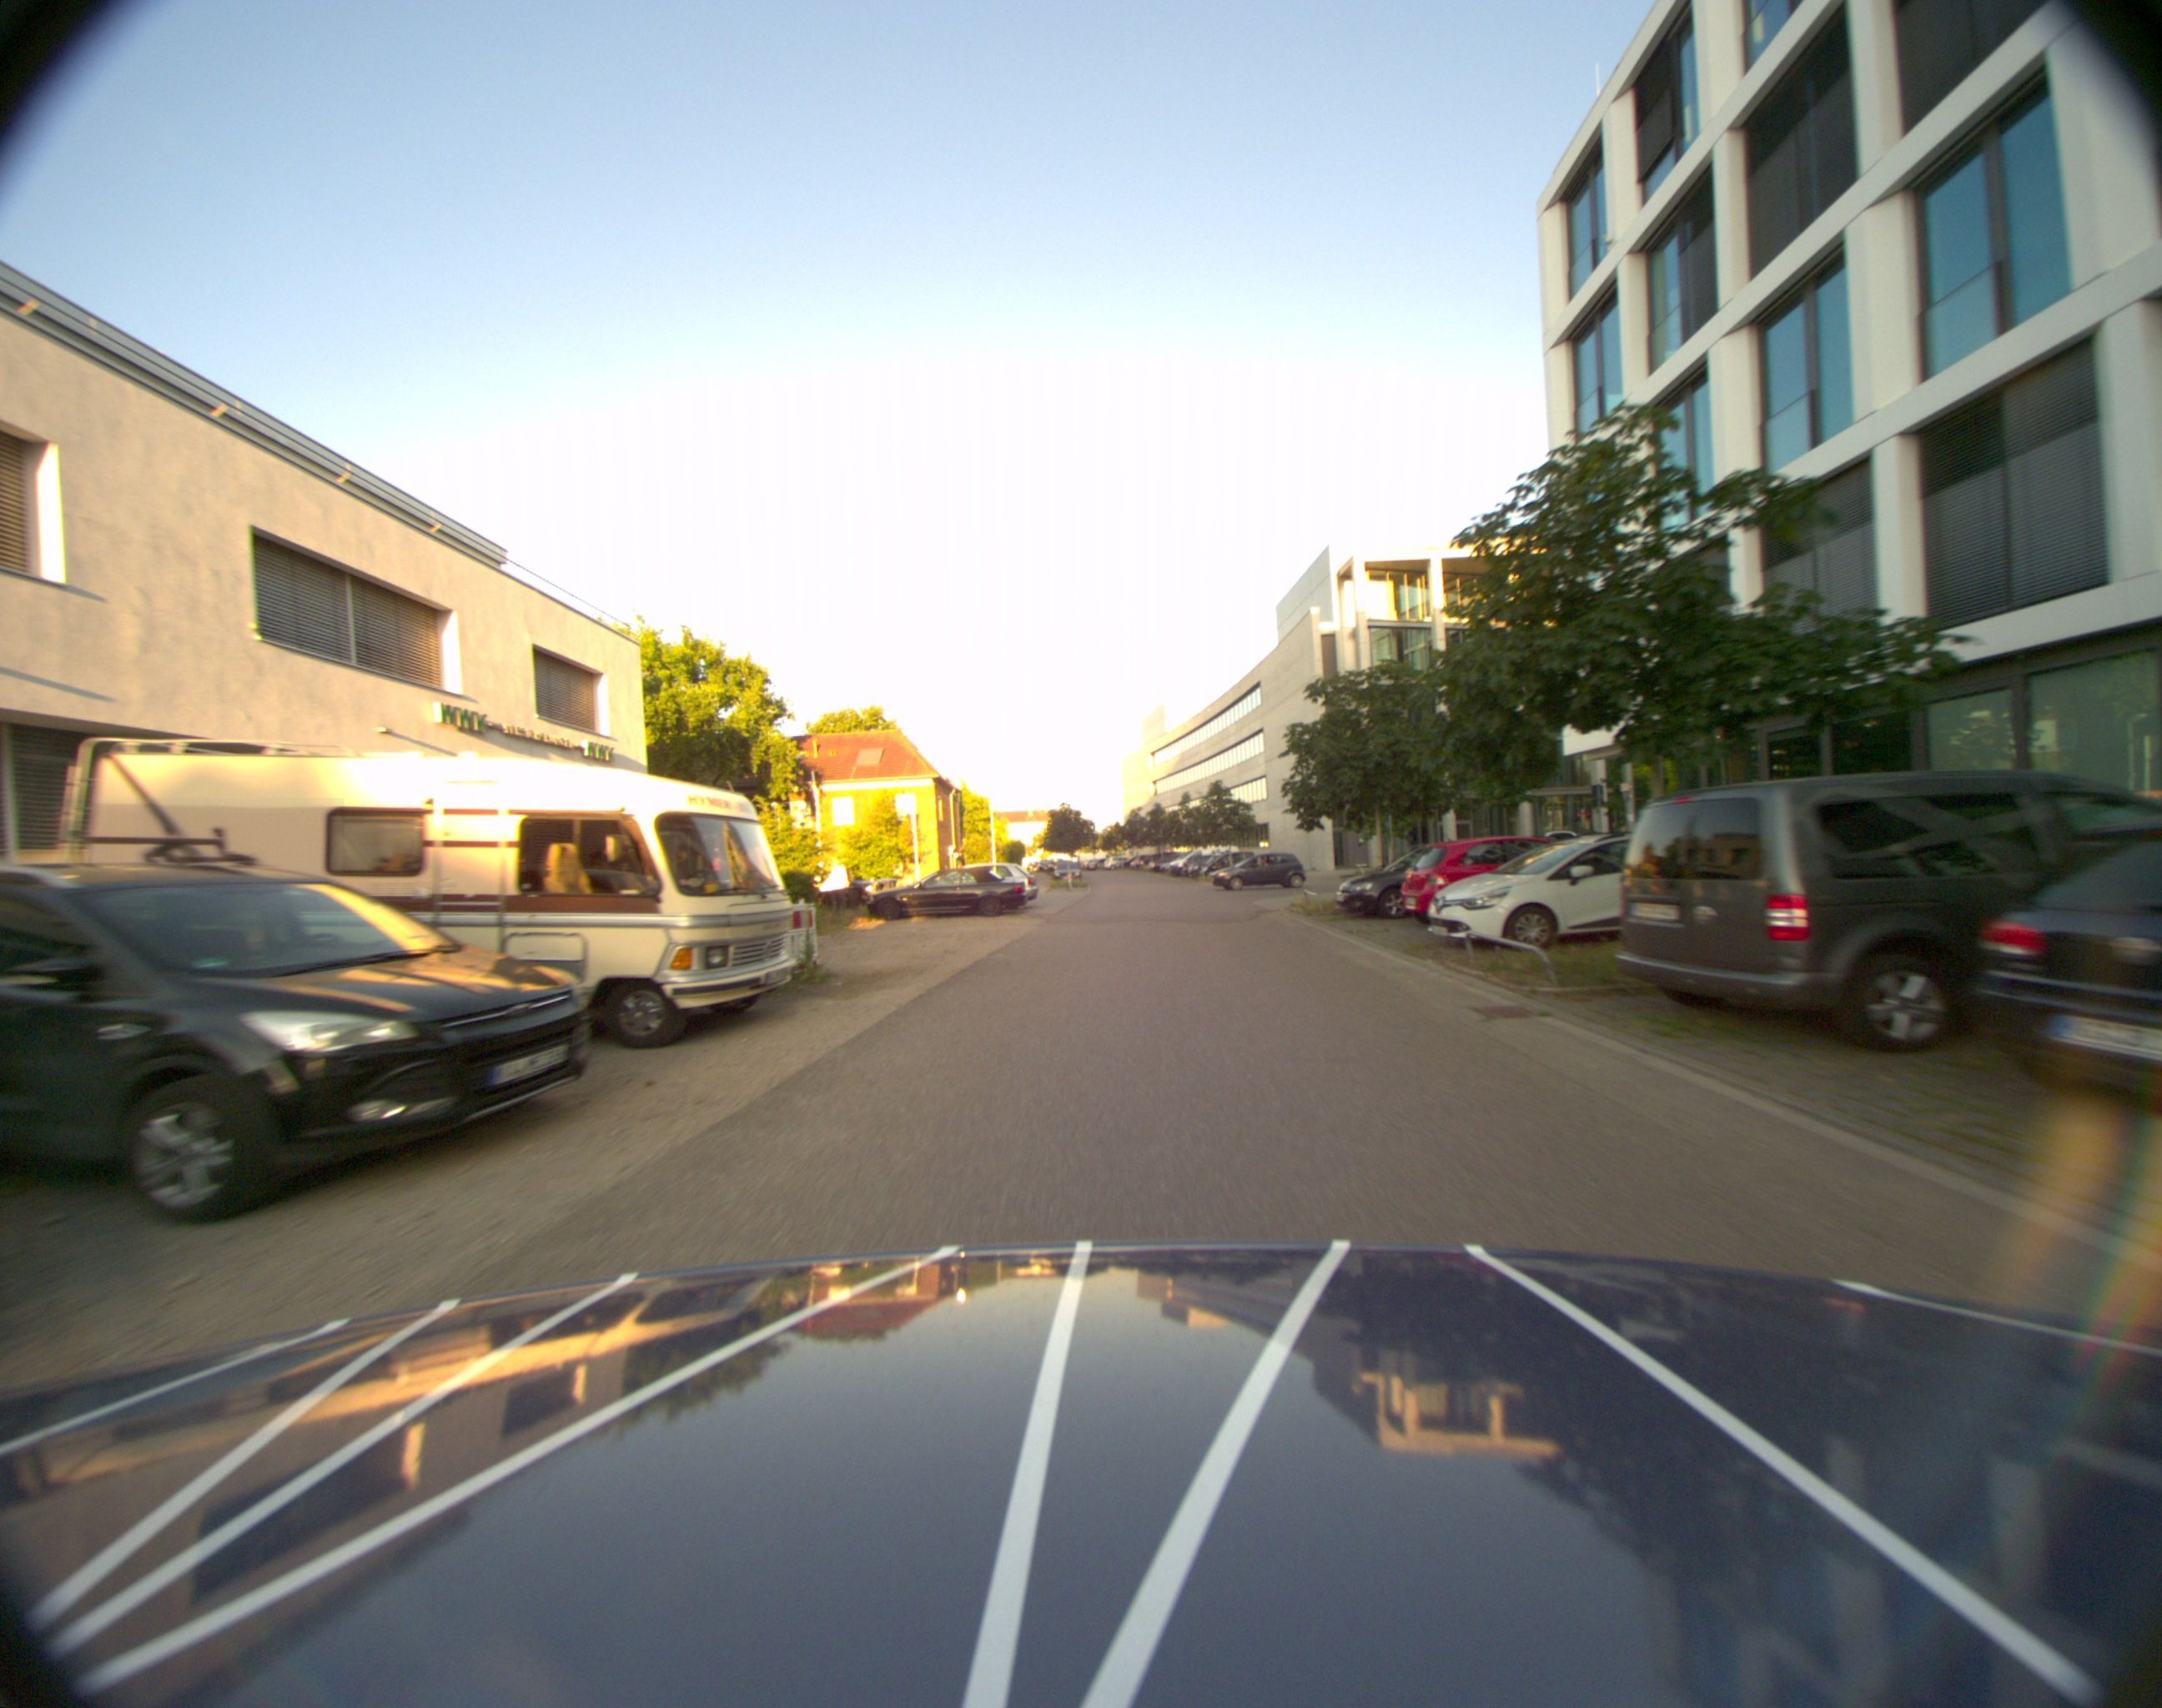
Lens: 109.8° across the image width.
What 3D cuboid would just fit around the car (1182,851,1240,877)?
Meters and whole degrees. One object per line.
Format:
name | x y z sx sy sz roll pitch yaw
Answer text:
car | 8.922 0.690 52.373 3.654 1.416 1.726 -5 0 1

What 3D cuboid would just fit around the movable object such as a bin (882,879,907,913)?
movable object such as a bin | -6.075 1.360 24.736 0.645 1.015 0.711 -3 0 -7

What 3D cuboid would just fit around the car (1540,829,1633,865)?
car | 25.036 -0.381 37.787 1.649 1.619 4.134 -4 2 -4

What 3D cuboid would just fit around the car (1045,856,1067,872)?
car | -2.428 0.936 72.860 1.771 1.454 4.366 -3 0 -6

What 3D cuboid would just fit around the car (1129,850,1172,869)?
car | 7.144 0.585 78.137 4.028 1.574 1.798 -5 0 -8

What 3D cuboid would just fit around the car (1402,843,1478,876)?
car | 17.268 0.213 36.752 1.649 1.378 3.816 -4 1 -4

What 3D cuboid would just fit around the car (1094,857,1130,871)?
car | 3.806 1.235 93.464 4.028 1.340 1.798 -5 0 -8

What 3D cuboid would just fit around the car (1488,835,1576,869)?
car | 21.976 -0.130 37.224 1.649 1.483 4.134 -4 1 -4

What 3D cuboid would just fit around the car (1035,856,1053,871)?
car | -3.820 0.983 79.410 1.770 1.454 4.367 -3 0 -2

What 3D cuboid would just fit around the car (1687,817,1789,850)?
car | 33.287 -1.026 38.633 1.649 1.497 3.855 -4 2 -4

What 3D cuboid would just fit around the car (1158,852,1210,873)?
car | 8.404 0.698 62.176 3.812 1.352 1.799 -5 0 -3

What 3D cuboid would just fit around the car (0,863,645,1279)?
car | -5.234 1.016 4.430 4.249 1.731 1.968 -2 1 6

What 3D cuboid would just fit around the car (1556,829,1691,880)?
car | 18.128 0.029 25.625 1.730 1.487 3.723 -4 -1 -2

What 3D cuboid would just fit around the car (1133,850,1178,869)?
car | 7.454 0.529 75.910 4.028 1.574 1.798 -5 0 -8

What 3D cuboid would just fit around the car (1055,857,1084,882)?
car | -0.683 0.980 49.125 1.680 1.454 4.368 -3 0 1

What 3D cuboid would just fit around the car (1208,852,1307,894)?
car | 7.427 0.782 32.177 3.734 1.486 1.649 -3 0 -1

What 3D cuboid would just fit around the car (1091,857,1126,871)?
car | 3.474 1.259 95.645 4.028 1.340 1.798 -5 0 -8

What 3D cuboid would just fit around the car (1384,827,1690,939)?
car | 7.738 0.474 13.237 4.118 1.509 1.845 -4 0 3

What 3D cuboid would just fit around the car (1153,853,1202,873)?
car | 8.246 0.736 64.977 3.812 1.352 1.799 -5 0 -3

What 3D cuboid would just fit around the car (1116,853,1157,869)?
car | 6.068 0.802 83.052 4.028 1.340 1.798 -5 0 -8

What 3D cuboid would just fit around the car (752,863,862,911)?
car | -11.491 1.372 32.074 3.951 1.755 1.783 -3 -1 -3

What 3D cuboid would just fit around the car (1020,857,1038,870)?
car | -5.912 1.058 86.566 1.770 1.454 4.367 -3 0 -2

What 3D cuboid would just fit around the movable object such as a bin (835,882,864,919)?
movable object such as a bin | -6.666 1.337 21.900 0.623 1.015 0.561 -3 0 -4

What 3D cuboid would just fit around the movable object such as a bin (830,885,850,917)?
movable object such as a bin | -6.758 1.322 21.312 0.415 0.852 0.396 -3 0 -4

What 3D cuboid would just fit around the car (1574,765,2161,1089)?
car | 6.329 0.391 5.598 4.119 1.806 1.816 -4 0 -1

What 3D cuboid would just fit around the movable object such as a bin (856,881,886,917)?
movable object such as a bin | -6.454 1.379 23.379 0.707 1.015 0.711 -3 0 -7

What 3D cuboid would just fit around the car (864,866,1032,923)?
car | -3.608 1.092 21.258 4.326 1.326 1.896 -2 1 0

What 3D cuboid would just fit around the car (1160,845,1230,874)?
car | 9.003 0.434 60.089 5.082 1.816 1.889 -5 0 -3

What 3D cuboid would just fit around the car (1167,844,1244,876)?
car | 9.001 0.447 55.058 5.082 1.870 1.889 -5 0 -3

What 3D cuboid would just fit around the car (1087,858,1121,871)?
car | 2.938 1.318 98.085 4.028 1.340 1.798 -5 0 -8

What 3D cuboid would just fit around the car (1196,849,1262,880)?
car | 9.109 0.649 47.038 3.654 1.538 1.726 -5 0 2

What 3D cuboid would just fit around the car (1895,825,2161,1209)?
car | 6.369 0.535 3.110 4.119 1.490 1.774 -4 0 -1

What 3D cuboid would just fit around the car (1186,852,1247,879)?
car | 8.826 0.733 49.798 3.654 1.416 1.726 -5 0 2

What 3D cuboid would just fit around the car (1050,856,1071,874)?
car | -1.814 0.934 67.585 1.770 1.454 4.367 -3 0 -2

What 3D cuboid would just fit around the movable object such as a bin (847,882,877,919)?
movable object such as a bin | -6.498 1.383 22.559 0.707 1.015 0.711 -3 0 -7

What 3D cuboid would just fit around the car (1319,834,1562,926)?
car | 7.368 0.520 15.902 4.118 1.509 1.845 -4 0 2

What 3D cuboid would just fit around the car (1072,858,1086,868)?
car | -0.288 1.419 118.352 1.798 1.442 4.027 -5 0 -3

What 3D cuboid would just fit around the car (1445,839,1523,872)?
car | 19.743 0.043 37.426 1.561 1.420 3.902 -4 1 -4

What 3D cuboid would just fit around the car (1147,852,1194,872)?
car | 7.924 0.706 67.429 3.812 1.352 1.799 -5 0 -3

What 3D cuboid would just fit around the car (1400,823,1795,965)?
car | 6.899 0.521 10.526 4.118 1.509 1.781 -4 0 3

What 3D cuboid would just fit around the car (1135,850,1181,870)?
car | 7.398 0.587 73.075 4.028 1.574 1.798 -5 0 -8

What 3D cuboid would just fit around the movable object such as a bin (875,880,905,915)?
movable object such as a bin | -6.039 1.360 24.073 0.758 1.015 0.711 -3 0 -7

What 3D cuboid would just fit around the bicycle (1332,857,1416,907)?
bicycle | 6.969 0.656 18.106 1.699 1.059 0.566 -4 0 4

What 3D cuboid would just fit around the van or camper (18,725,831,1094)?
van or camper | -5.861 0.463 7.563 5.795 2.848 2.487 -2 1 0

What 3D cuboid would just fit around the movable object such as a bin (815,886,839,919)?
movable object such as a bin | -6.986 1.333 20.920 0.500 0.852 0.396 -3 0 -4

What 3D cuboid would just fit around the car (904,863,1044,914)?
car | -3.250 1.037 23.670 4.066 1.399 1.896 -2 0 0
